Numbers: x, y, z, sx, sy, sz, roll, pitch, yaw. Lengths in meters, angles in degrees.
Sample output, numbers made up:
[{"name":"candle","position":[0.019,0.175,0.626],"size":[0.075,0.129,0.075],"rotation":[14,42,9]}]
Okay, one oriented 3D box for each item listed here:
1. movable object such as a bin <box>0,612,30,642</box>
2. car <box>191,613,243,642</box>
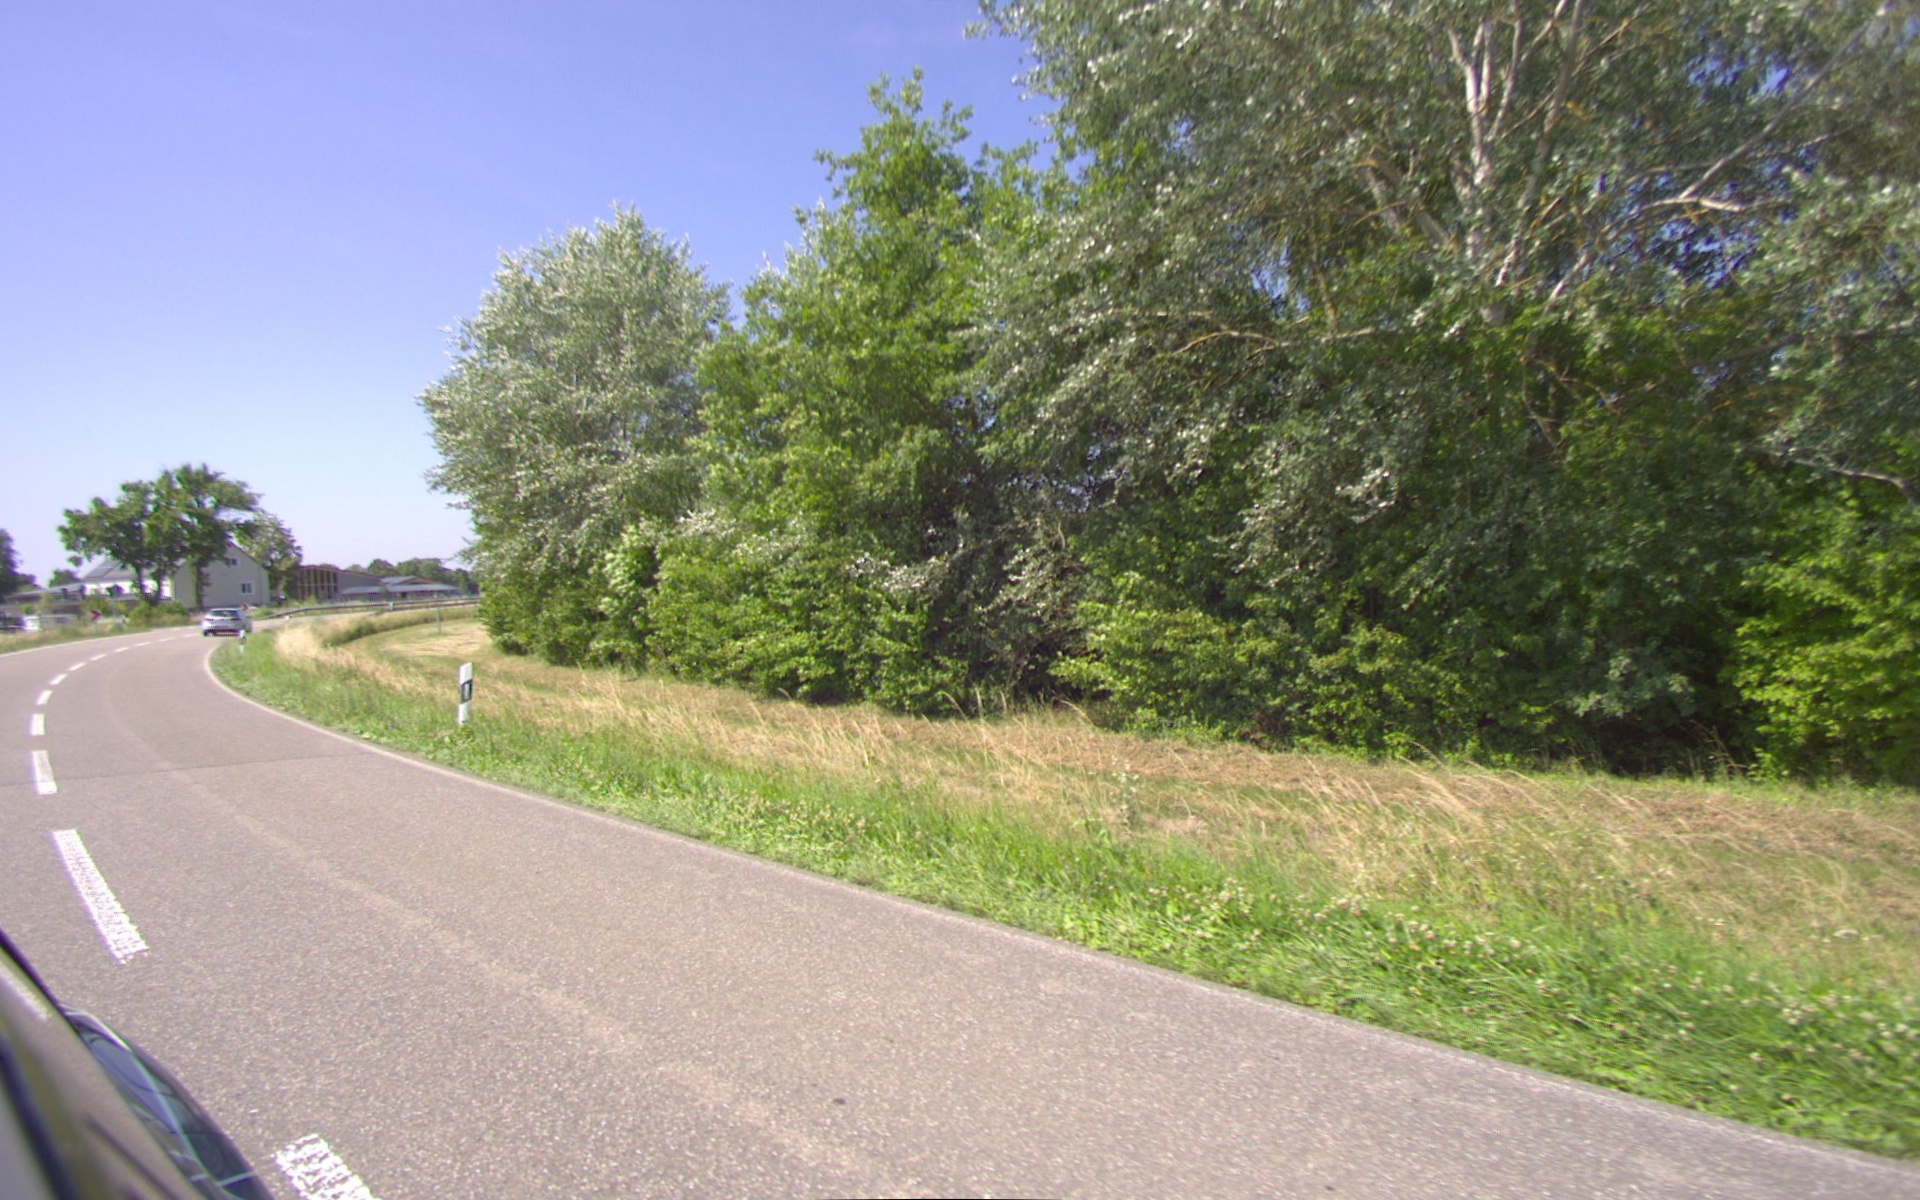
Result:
[{"name":"movable object such as a bin","position":[-96.828,2.819,100.105],"size":[2.981,2.790,6.481],"rotation":[-4,1,12]},{"name":"car","position":[-39.190,1.425,53.437],"size":[1.759,1.438,4.072],"rotation":[1,-1,-30]}]
